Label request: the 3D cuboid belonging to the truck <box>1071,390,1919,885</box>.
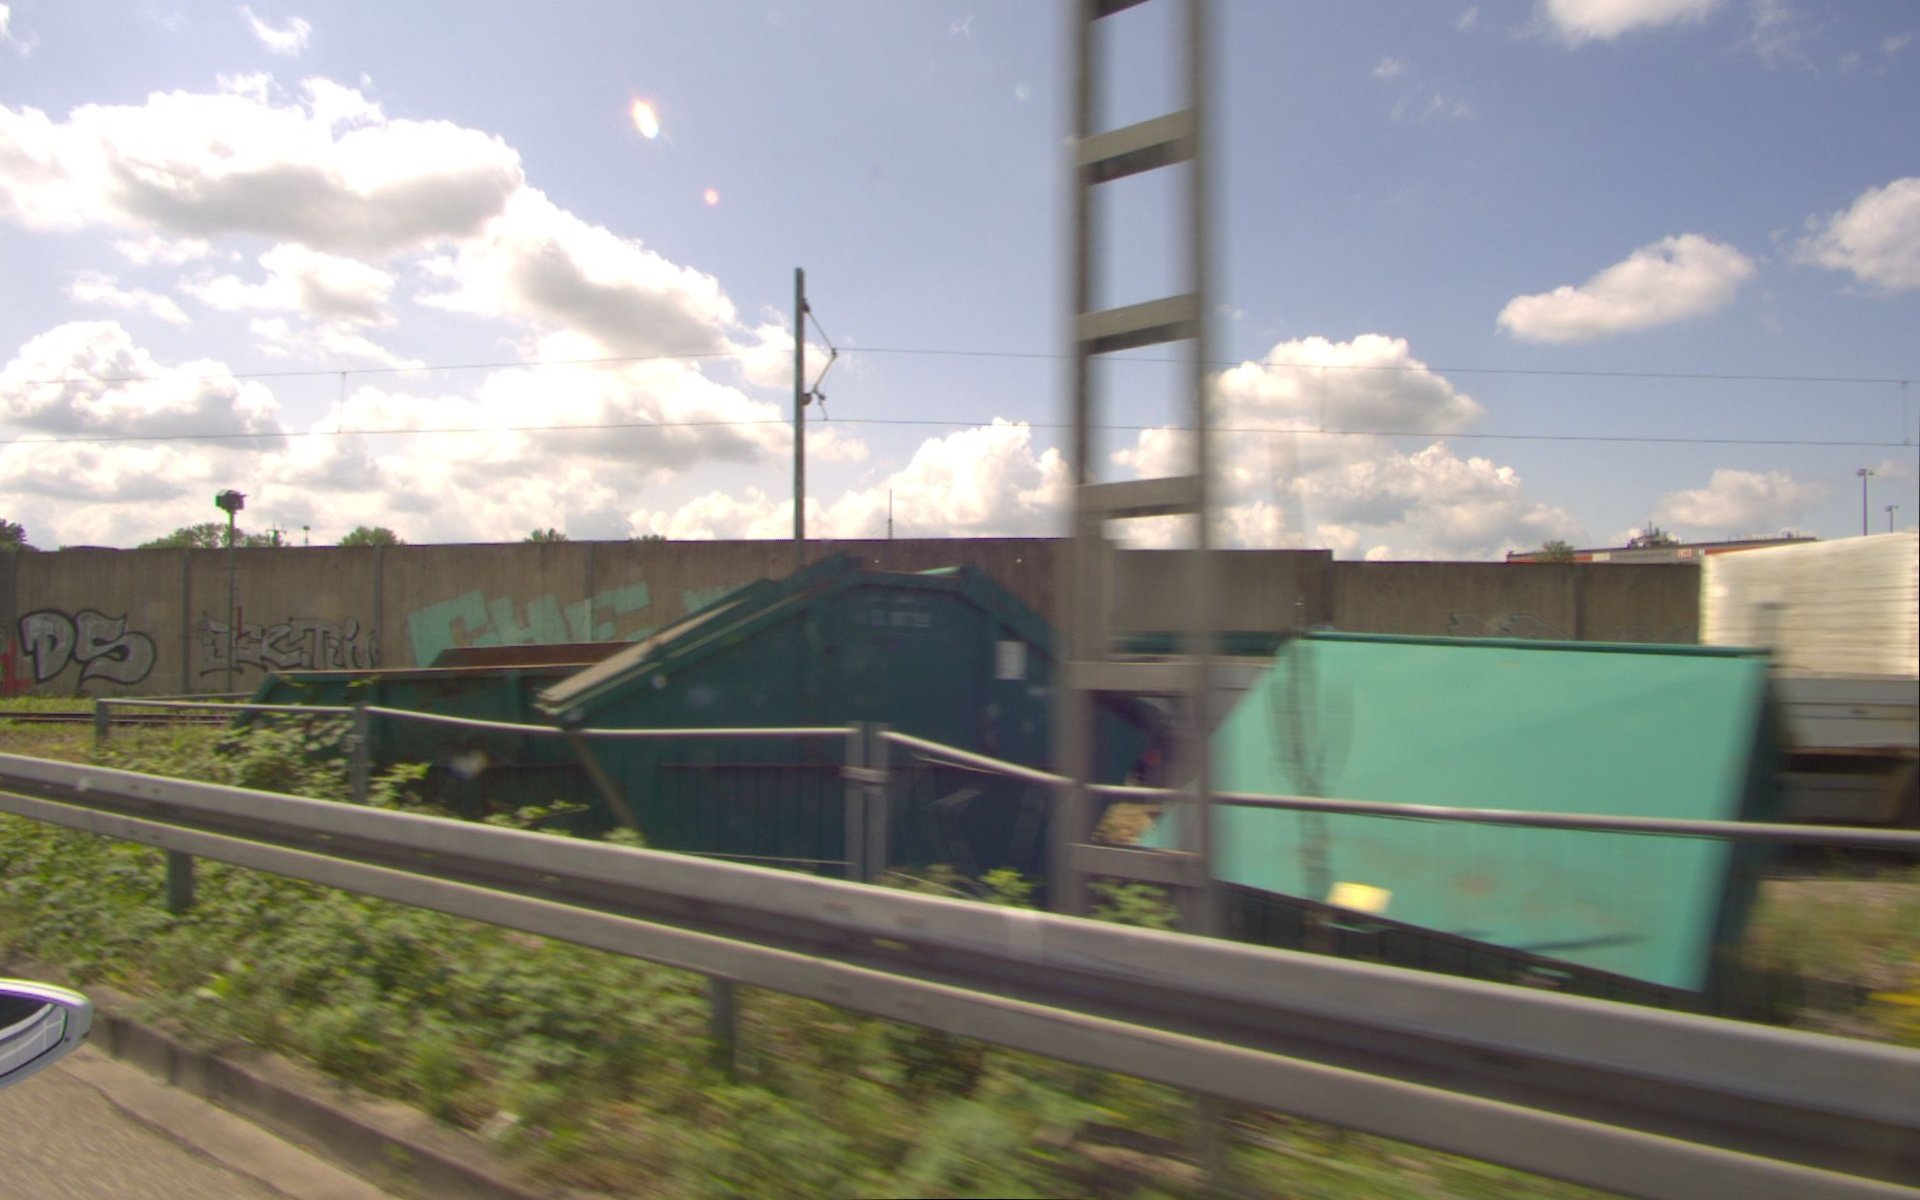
[{"bbox_3d":[5.025,0.318,8.638,7.956,3.463,2.996,0,-1,4],"label":"truck"}]
